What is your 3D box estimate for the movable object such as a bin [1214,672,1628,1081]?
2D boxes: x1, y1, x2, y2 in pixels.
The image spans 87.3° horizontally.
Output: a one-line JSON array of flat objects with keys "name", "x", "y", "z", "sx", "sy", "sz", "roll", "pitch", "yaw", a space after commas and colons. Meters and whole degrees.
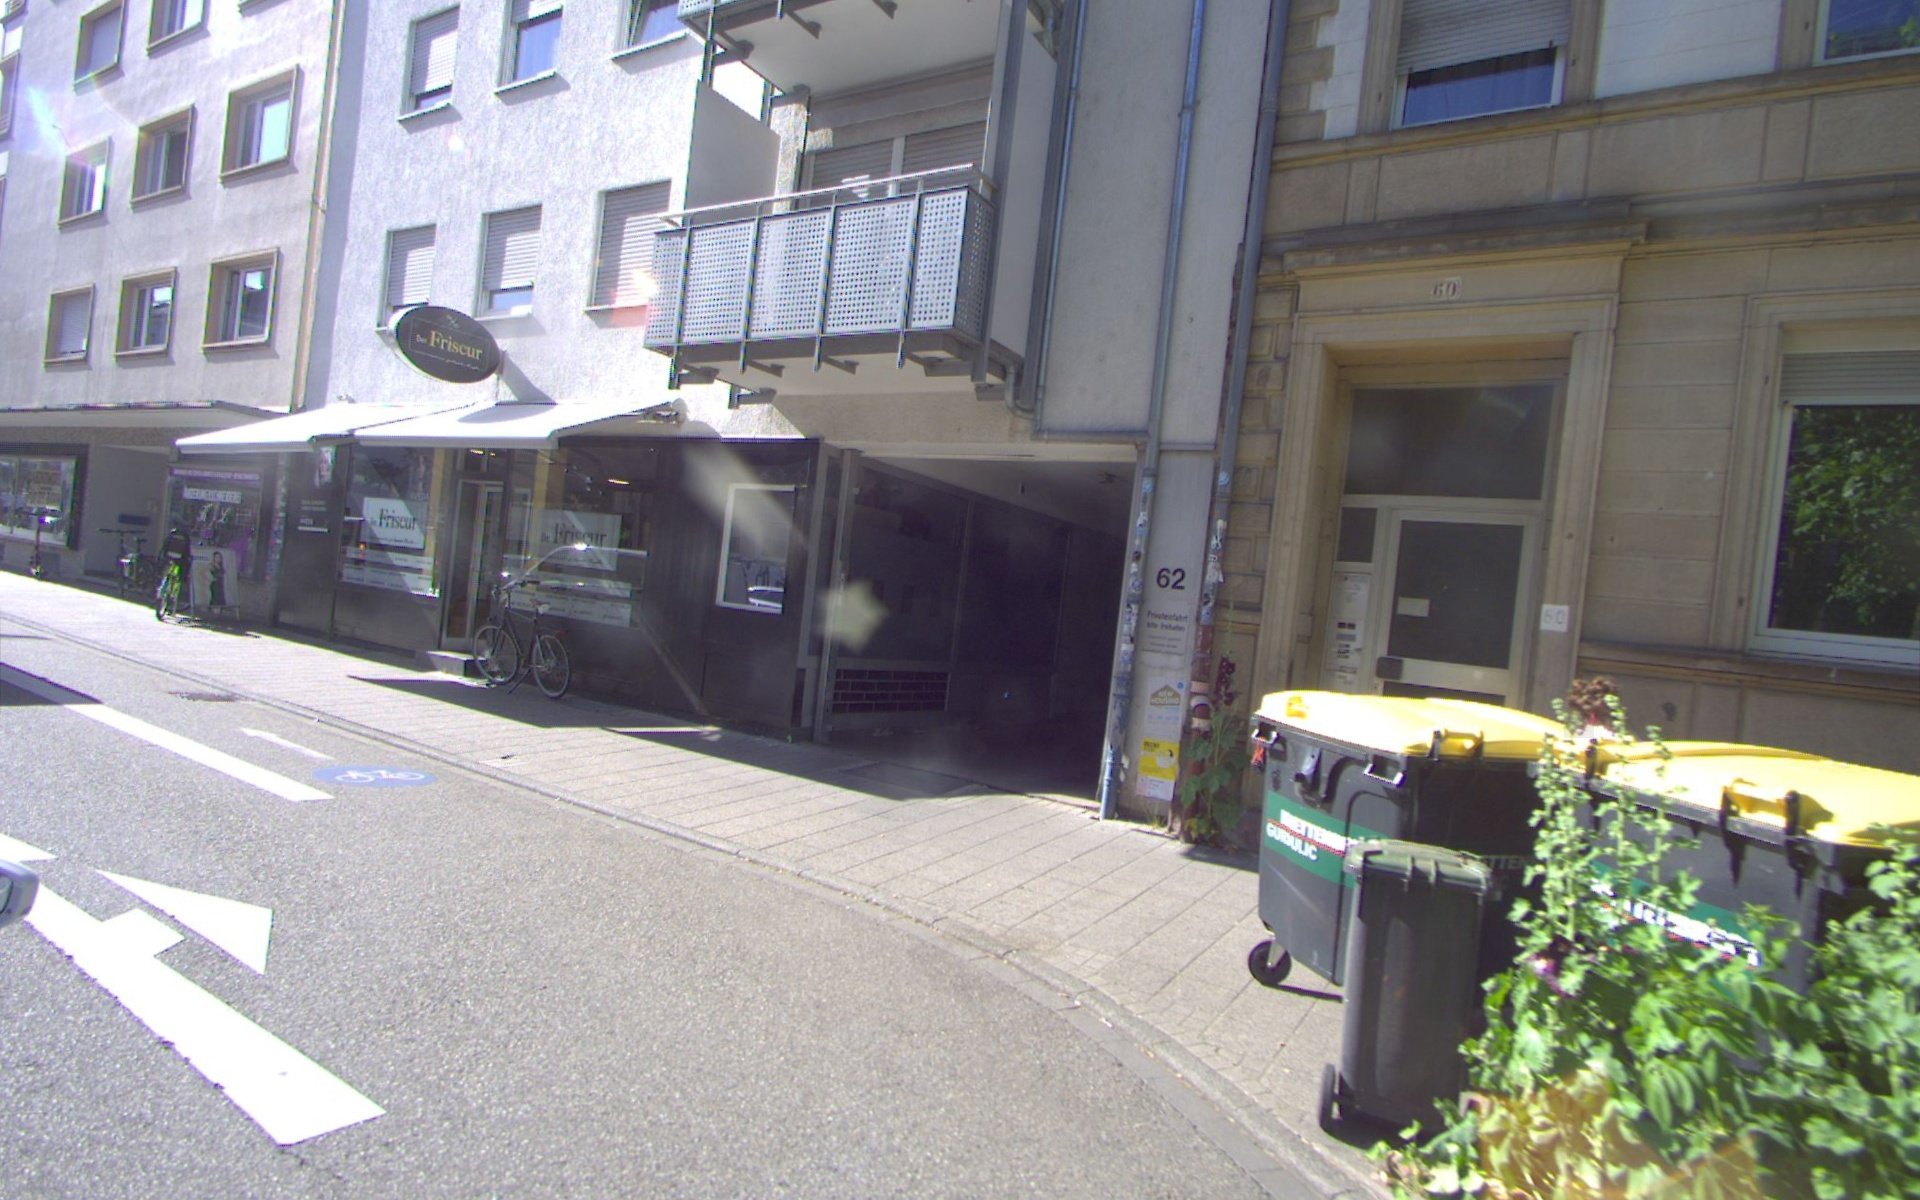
[{"name": "movable object such as a bin", "x": 1.880, "y": 1.064, "z": 4.263, "sx": 1.026, "sy": 1.365, "sz": 1.104, "roll": 5, "pitch": 0, "yaw": -19}]

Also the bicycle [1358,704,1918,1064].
[{"name": "bicycle", "x": 3.174, "y": 1.247, "z": 4.955, "sx": 2.092, "sy": 1.163, "sz": 0.536, "roll": 6, "pitch": 0, "yaw": 39}]

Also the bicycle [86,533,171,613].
[{"name": "bicycle", "x": -13.461, "y": -0.441, "z": 16.276, "sx": 1.508, "sy": 1.132, "sz": 0.524, "roll": 6, "pitch": 0, "yaw": 32}]

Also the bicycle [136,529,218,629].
[{"name": "bicycle", "x": -11.021, "y": -0.299, "z": 14.149, "sx": 1.198, "sy": 1.291, "sz": 0.475, "roll": 6, "pitch": 3, "yaw": 31}]

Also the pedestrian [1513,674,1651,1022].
[{"name": "pedestrian", "x": 2.864, "y": 1.106, "z": 4.654, "sx": 0.383, "sy": 1.488, "sz": 0.368, "roll": 7, "pitch": 1, "yaw": 31}]

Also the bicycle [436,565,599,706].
[{"name": "bicycle", "x": -4.785, "y": 0.361, "z": 10.832, "sx": 1.852, "sy": 1.285, "sz": 0.548, "roll": 6, "pitch": 0, "yaw": 32}]

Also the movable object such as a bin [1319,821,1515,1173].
[{"name": "movable object such as a bin", "x": 1.508, "y": 1.284, "z": 3.381, "sx": 0.463, "sy": 0.941, "sz": 0.443, "roll": 6, "pitch": 0, "yaw": 19}]

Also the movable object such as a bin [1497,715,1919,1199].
[{"name": "movable object such as a bin", "x": 2.620, "y": 1.150, "z": 3.040, "sx": 1.090, "sy": 1.364, "sz": 1.269, "roll": 6, "pitch": 0, "yaw": -10}]
